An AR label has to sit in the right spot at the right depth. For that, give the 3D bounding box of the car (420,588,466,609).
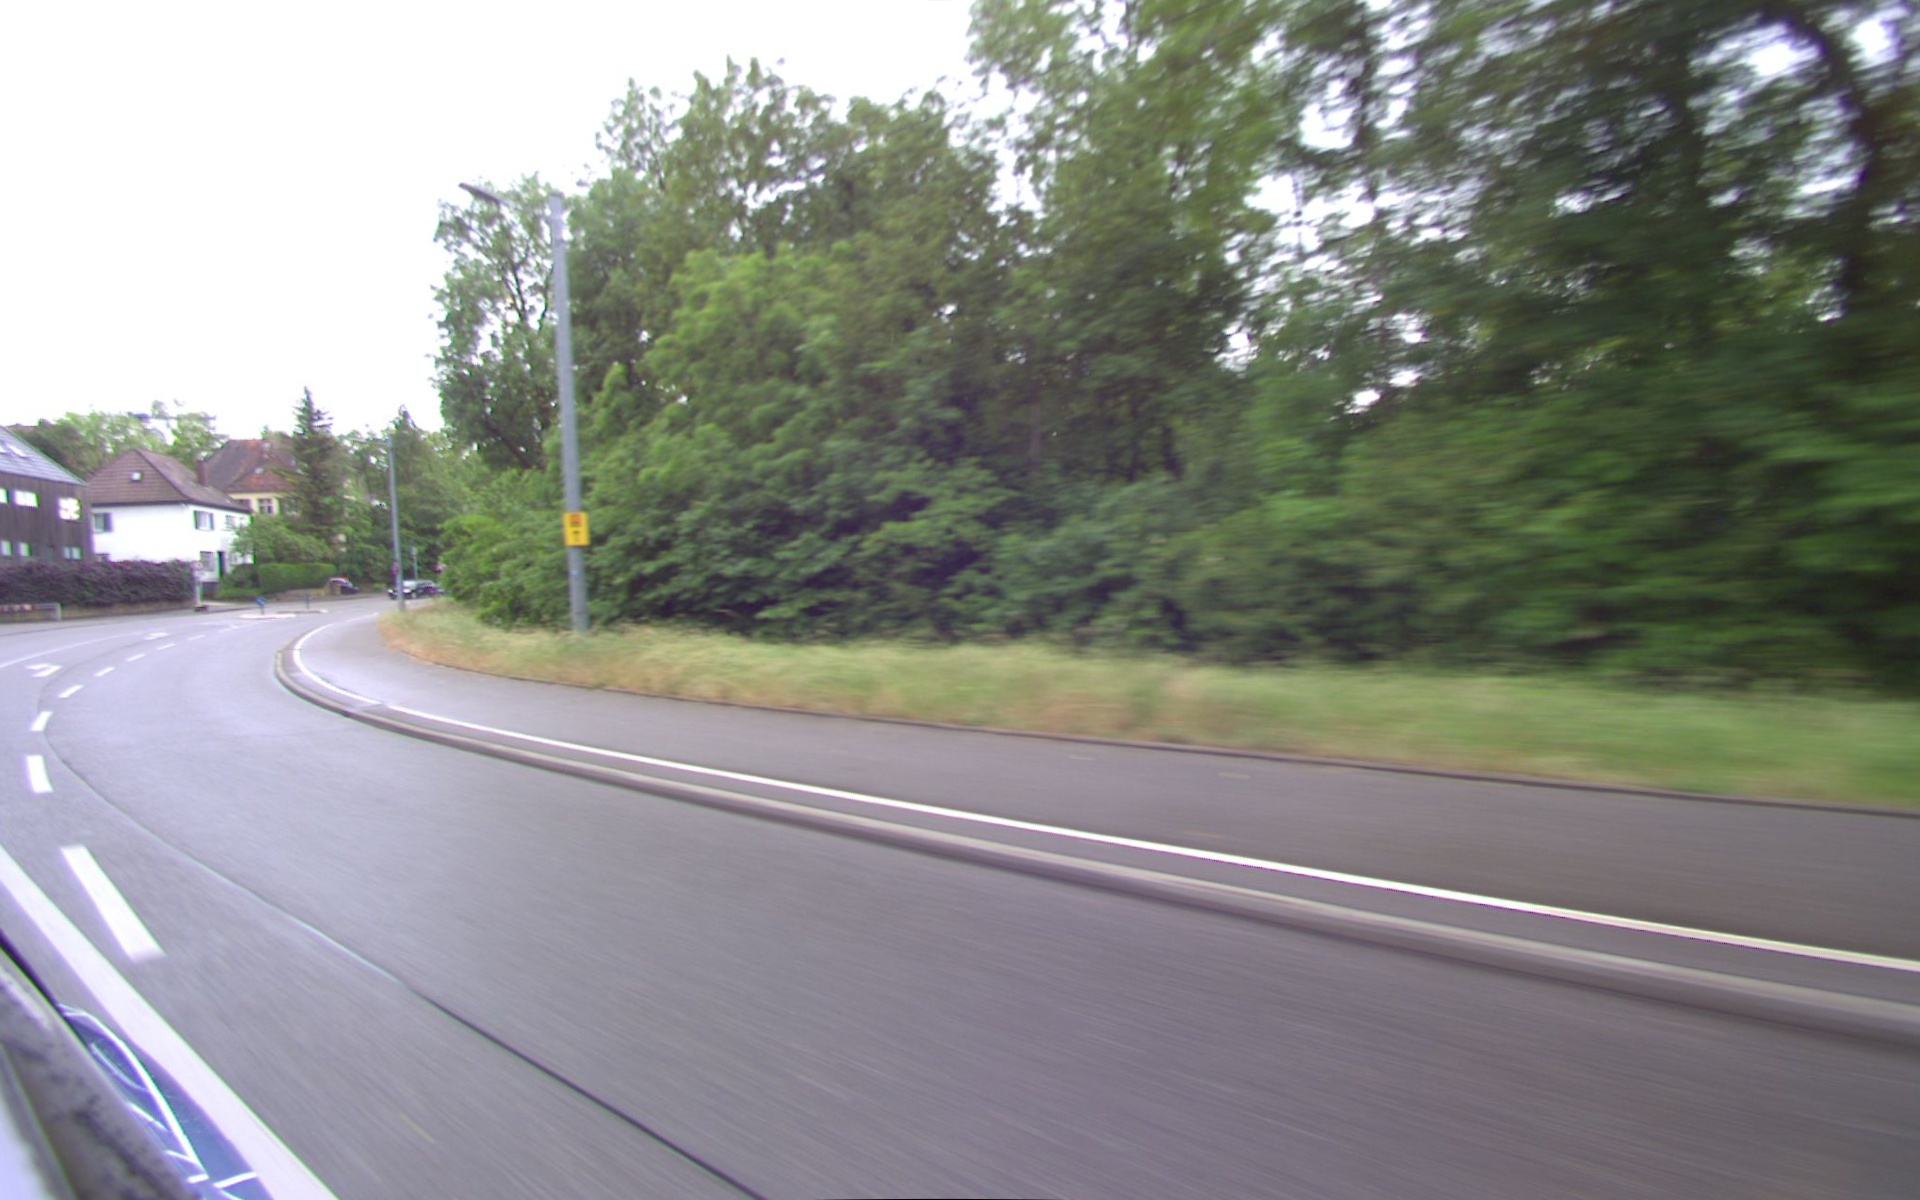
[{"bbox_3d":[-39.673,-0.113,77.714,1.823,1.512,4.641,1,1,-10],"label":"car"}]

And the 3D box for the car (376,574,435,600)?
[{"bbox_3d":[-43.421,-1.040,79.361,1.977,1.729,3.991,-1,4,8],"label":"car"}]

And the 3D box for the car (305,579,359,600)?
[{"bbox_3d":[-52.090,-0.910,83.969,3.435,1.422,1.430,-4,3,-6],"label":"car"}]
